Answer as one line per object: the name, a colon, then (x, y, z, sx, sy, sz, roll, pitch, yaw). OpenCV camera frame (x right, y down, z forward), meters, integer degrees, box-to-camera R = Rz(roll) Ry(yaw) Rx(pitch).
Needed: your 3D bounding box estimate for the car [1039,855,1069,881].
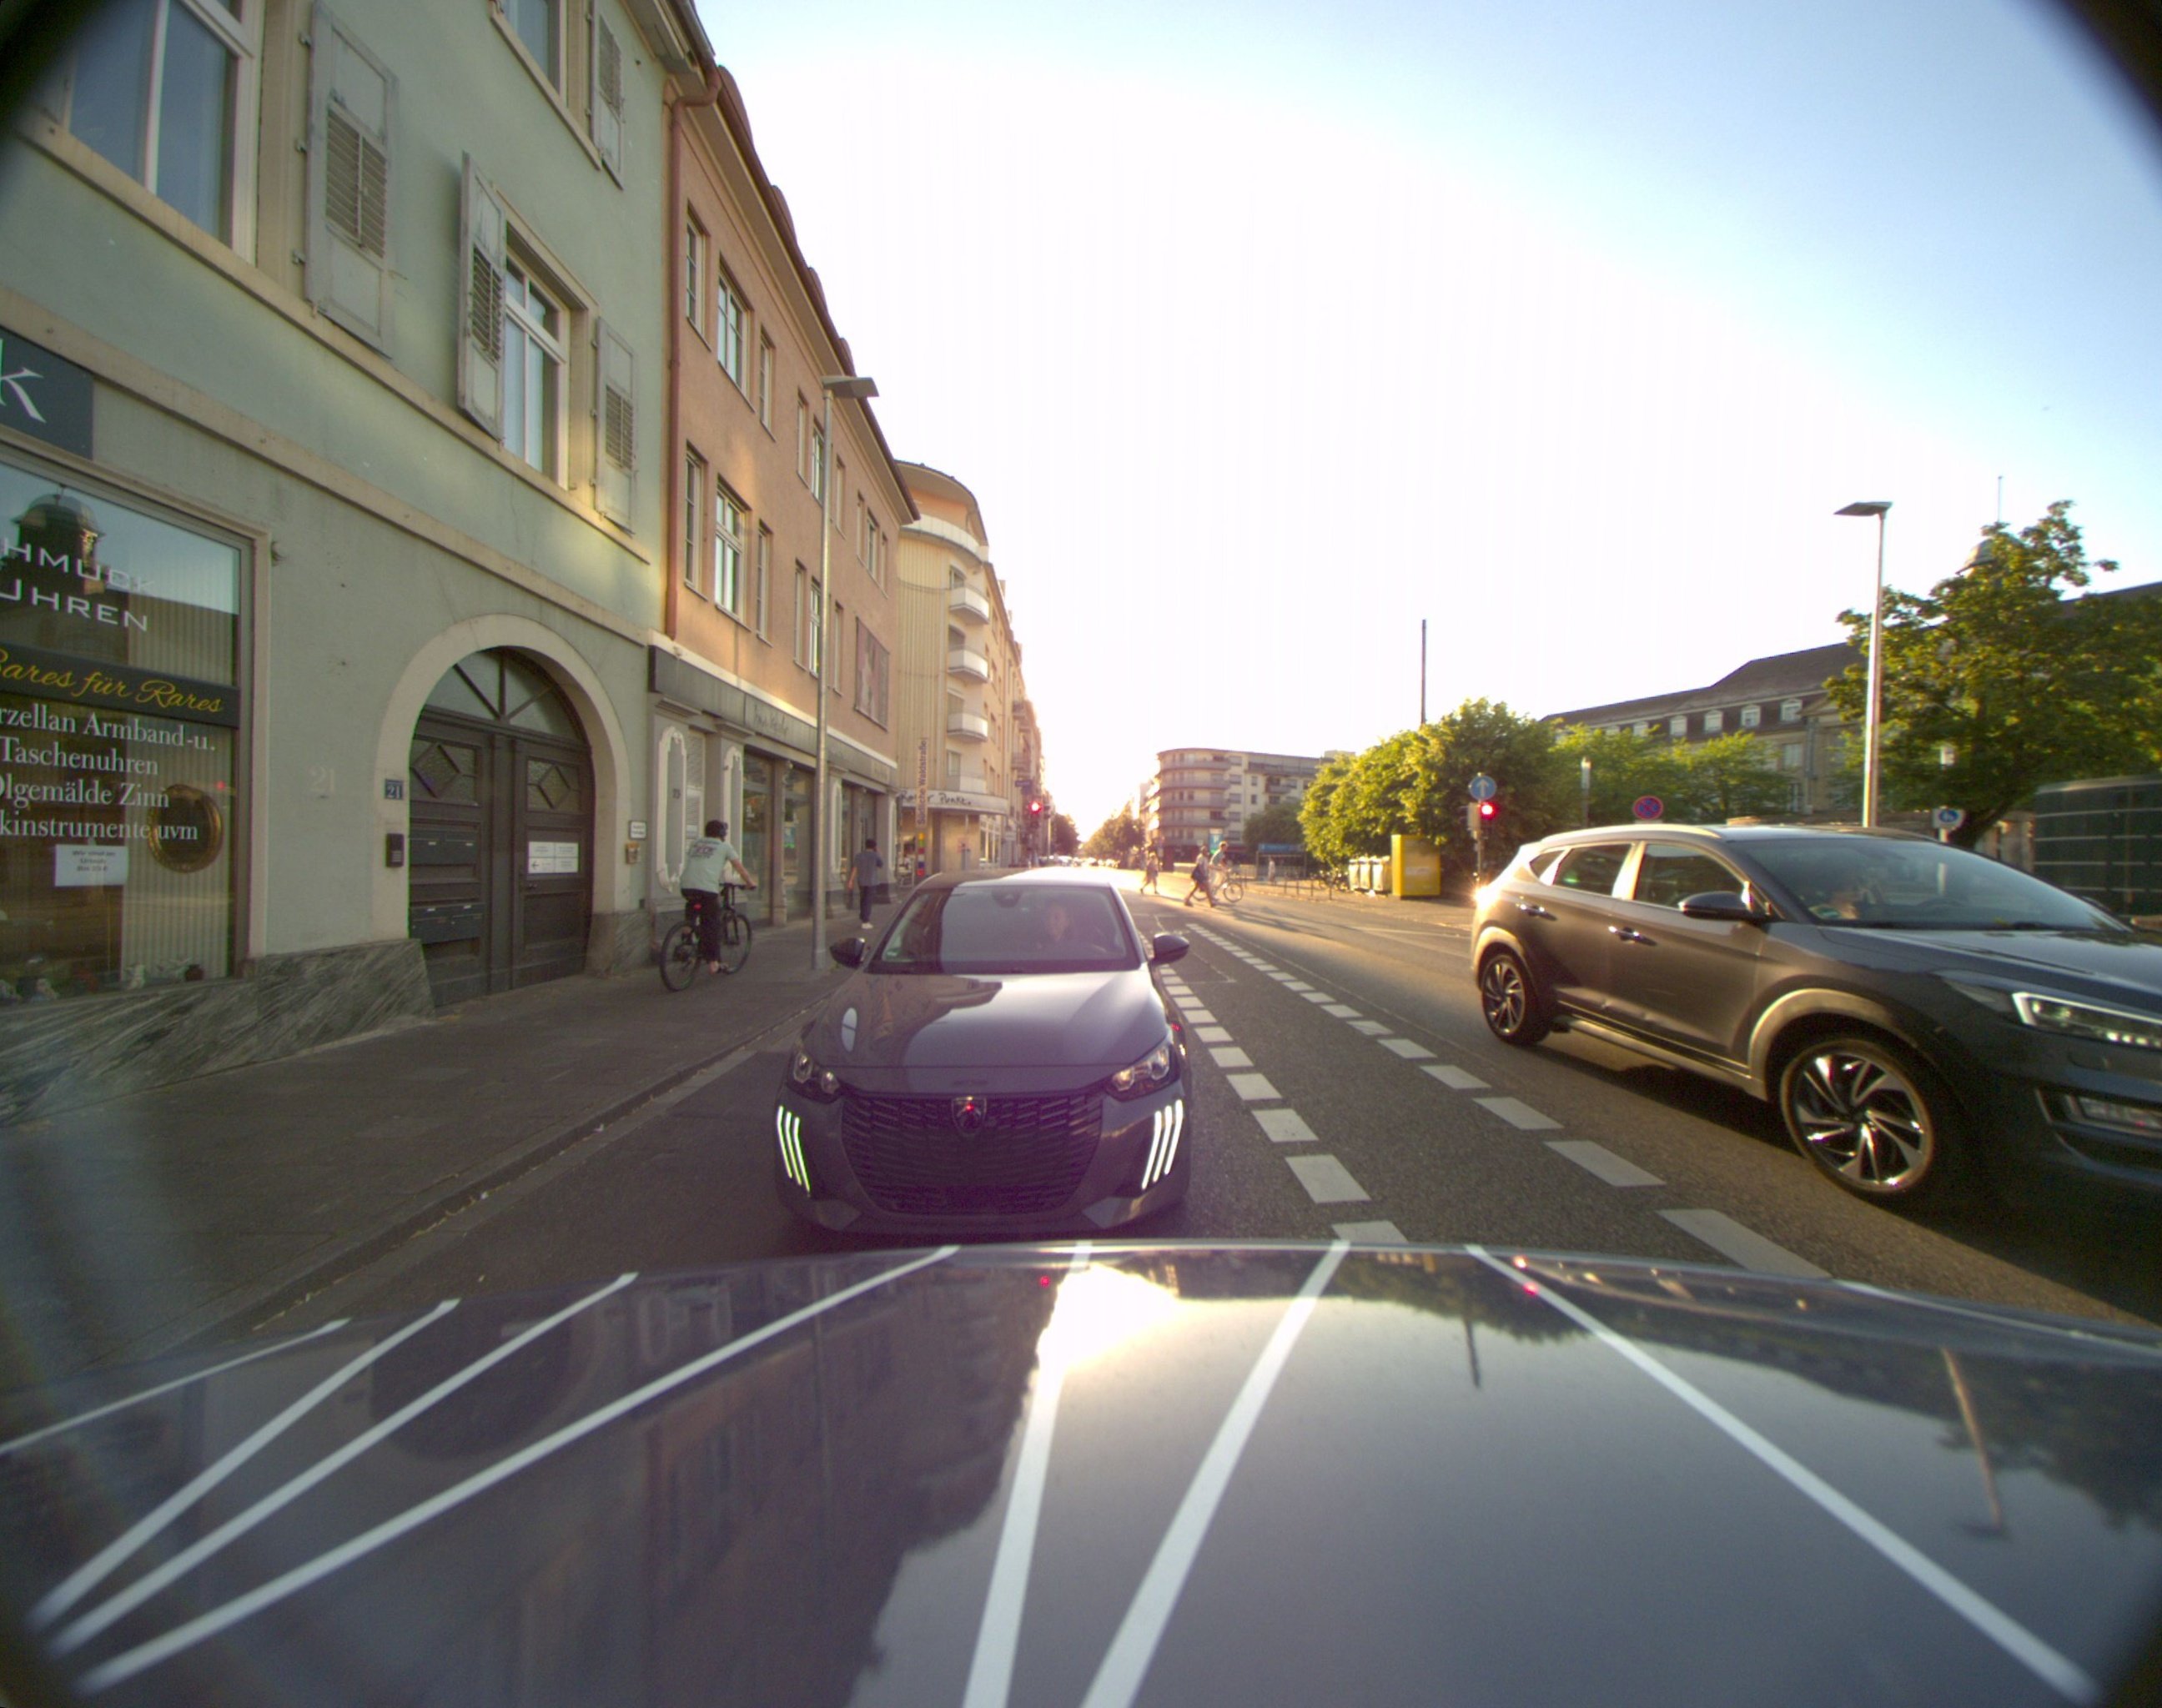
car: (-1.749, 0.915, 51.048, 1.821, 1.611, 4.203, 0, 0, 0)

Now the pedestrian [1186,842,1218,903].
pedestrian: (3.821, 0.570, 23.985, 0.939, 1.886, 0.826, 1, 0, 7)

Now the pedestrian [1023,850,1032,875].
pedestrian: (-4.338, 0.682, 61.642, 0.673, 2.002, 0.851, 0, 1, 0)

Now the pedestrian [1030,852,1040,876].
pedestrian: (-3.750, 0.820, 61.975, 0.763, 2.002, 0.851, 0, 0, 0)

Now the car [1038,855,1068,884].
car: (-1.642, 0.873, 44.771, 1.702, 1.607, 4.682, 0, 0, -2)

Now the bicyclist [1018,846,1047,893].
bicyclist: (-1.795, 0.558, 28.182, 0.777, 1.714, 0.856, 1, 0, 15)

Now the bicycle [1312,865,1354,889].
bicycle: (13.148, 1.188, 39.662, 2.031, 1.245, 0.548, -1, 0, -4)

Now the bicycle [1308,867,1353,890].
bicycle: (12.459, 1.212, 37.953, 2.031, 1.128, 0.548, -1, 0, -4)

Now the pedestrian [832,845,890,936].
pedestrian: (-4.057, 0.657, 14.064, 0.825, 1.632, 0.871, 1, 0, -2)

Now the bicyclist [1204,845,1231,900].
bicyclist: (4.597, 0.602, 25.628, 0.835, 1.815, 0.831, 1, 0, 8)

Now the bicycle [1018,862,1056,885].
bicycle: (-2.225, 0.993, 38.436, 1.851, 1.117, 0.594, 2, 1, -11)

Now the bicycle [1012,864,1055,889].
bicycle: (-2.145, 0.998, 34.168, 1.788, 1.057, 0.718, 2, 0, -11)

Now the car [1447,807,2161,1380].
car: (4.122, 0.737, 4.345, 1.877, 1.679, 4.450, 2, 0, 0)

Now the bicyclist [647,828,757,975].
bicyclist: (-4.065, 0.485, 8.218, 0.724, 1.499, 0.900, 1, 0, 1)

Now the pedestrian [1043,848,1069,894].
pedestrian: (-1.006, 0.673, 30.800, 0.870, 1.806, 0.827, 1, 0, 12)

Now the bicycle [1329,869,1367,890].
bicycle: (13.103, 1.234, 37.253, 1.678, 0.973, 0.548, -1, 0, -4)

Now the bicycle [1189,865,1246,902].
bicycle: (4.592, 0.975, 25.620, 1.823, 1.179, 0.794, 1, 0, 9)

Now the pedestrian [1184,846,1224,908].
pedestrian: (3.550, 0.656, 22.046, 1.099, 1.764, 0.826, 1, 0, 7)

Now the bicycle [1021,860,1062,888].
bicycle: (-1.815, 0.920, 35.106, 1.849, 1.232, 0.639, 1, 0, -5)

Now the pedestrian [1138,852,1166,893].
pedestrian: (2.871, 0.740, 30.688, 0.789, 1.643, 0.782, 1, 1, 43)

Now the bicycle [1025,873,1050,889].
bicycle: (-1.934, 1.170, 33.463, 1.008, 0.677, 1.049, 1, 0, -9)

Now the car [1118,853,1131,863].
car: (7.730, 0.675, 135.683, 1.999, 1.805, 3.999, 1, 0, -2)

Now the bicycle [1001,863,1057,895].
bicycle: (-1.931, 0.926, 28.252, 1.917, 1.111, 0.706, 1, 0, 17)

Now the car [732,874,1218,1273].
car: (-0.444, 0.924, 5.225, 1.908, 1.438, 4.449, 0, 0, -1)

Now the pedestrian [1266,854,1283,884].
pedestrian: (11.657, 0.890, 45.745, 0.951, 1.806, 0.827, 1, 0, 13)

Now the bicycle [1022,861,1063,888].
bicycle: (-1.816, 0.968, 35.853, 1.788, 1.166, 0.621, 2, 0, -11)

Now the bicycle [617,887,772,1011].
bicycle: (-4.064, 0.944, 8.183, 0.692, 1.100, 1.896, 1, 0, 0)

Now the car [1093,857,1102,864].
car: (3.697, 1.526, 170.586, 1.790, 1.458, 3.956, 2, 0, -1)

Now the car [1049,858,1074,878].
car: (-1.419, 1.008, 56.628, 1.738, 1.448, 4.610, 0, 0, 0)

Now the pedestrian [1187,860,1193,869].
pedestrian: (15.801, 1.534, 109.825, 0.887, 1.185, 0.733, 0, 0, 9)

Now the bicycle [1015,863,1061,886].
bicycle: (-2.131, 1.004, 37.437, 2.176, 1.069, 0.805, 2, 0, -7)

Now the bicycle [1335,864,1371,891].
bicycle: (13.190, 1.129, 36.844, 1.590, 1.245, 0.445, -1, 0, -2)

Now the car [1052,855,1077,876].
car: (-1.311, 0.928, 62.222, 1.877, 1.664, 4.430, 0, 0, 0)

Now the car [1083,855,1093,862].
car: (1.673, 1.126, 186.005, 1.878, 1.621, 4.177, 3, -1, -5)
